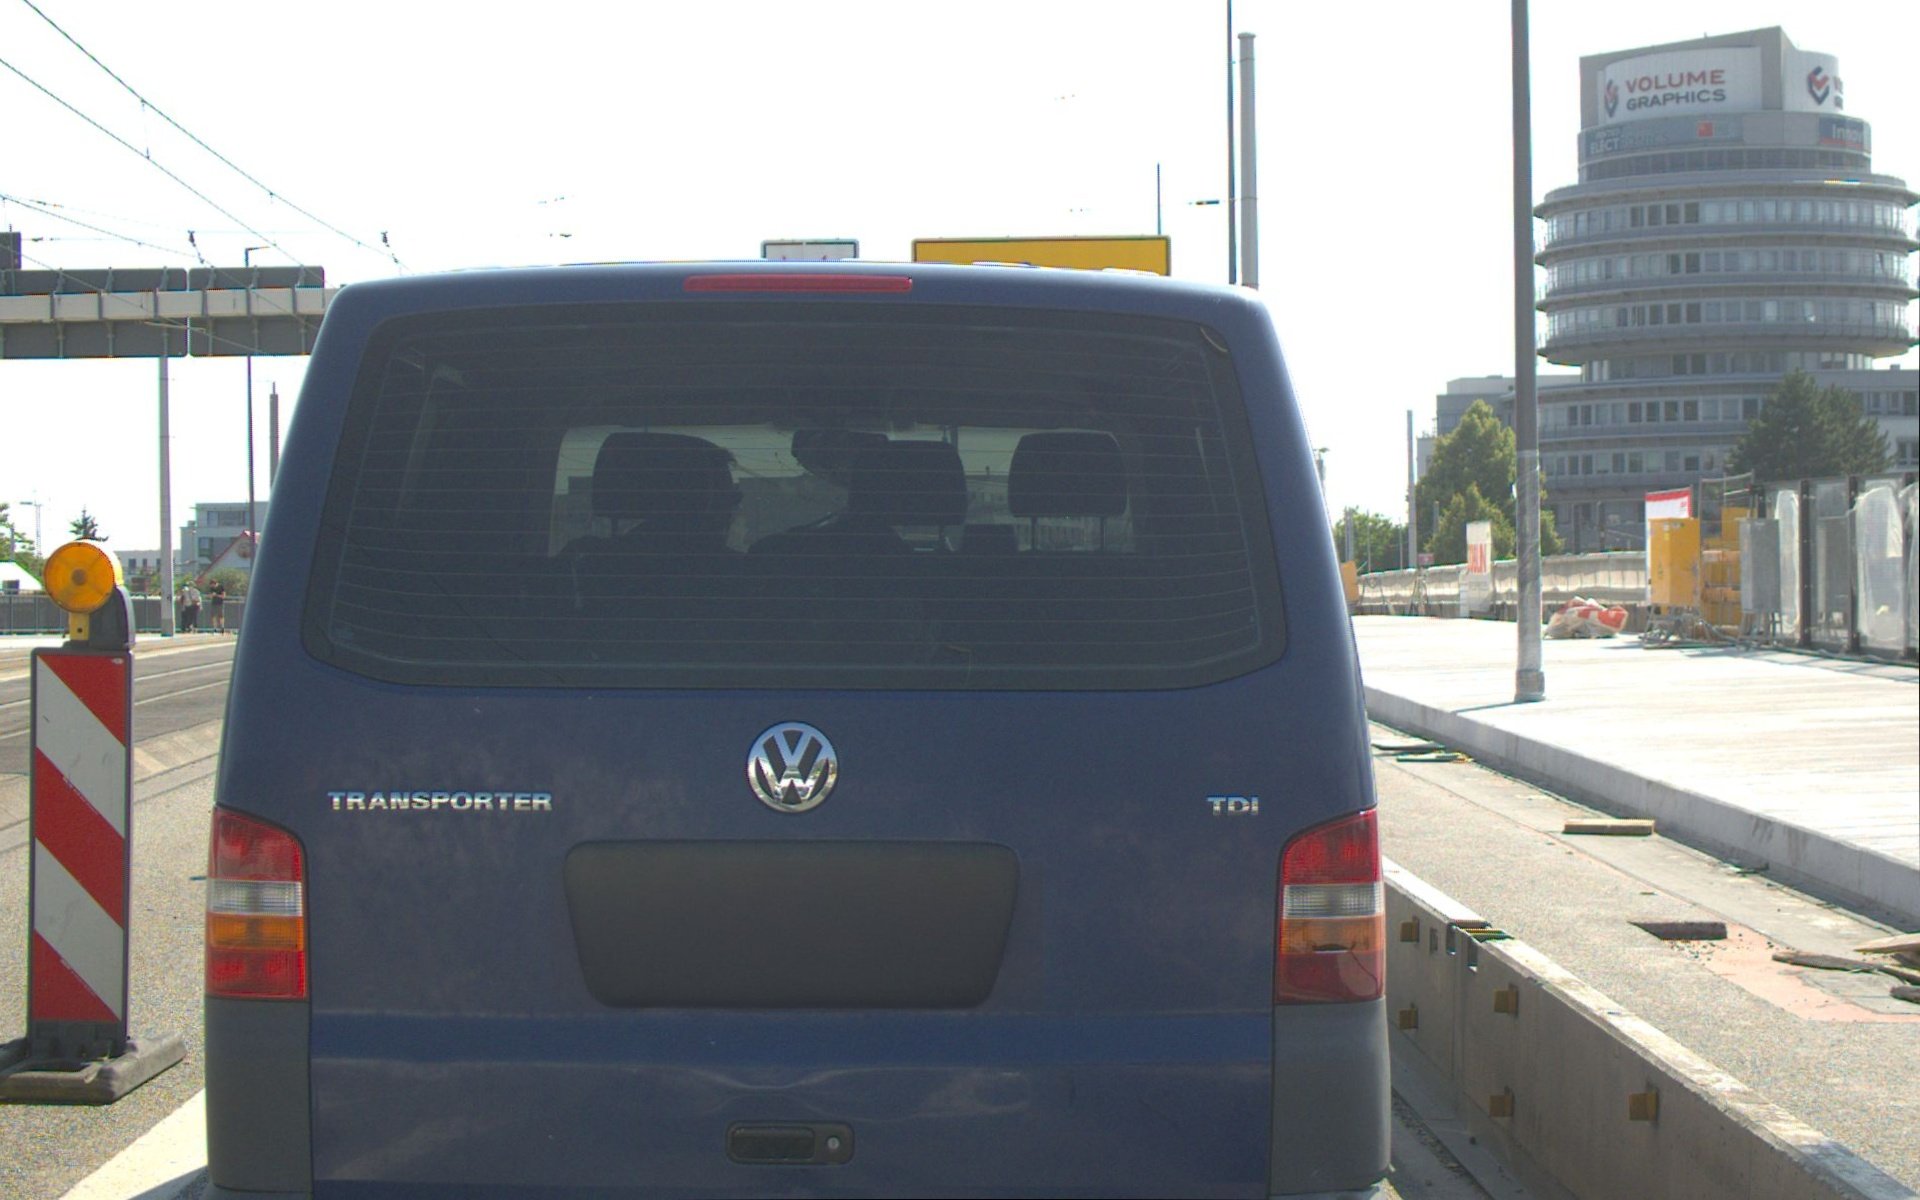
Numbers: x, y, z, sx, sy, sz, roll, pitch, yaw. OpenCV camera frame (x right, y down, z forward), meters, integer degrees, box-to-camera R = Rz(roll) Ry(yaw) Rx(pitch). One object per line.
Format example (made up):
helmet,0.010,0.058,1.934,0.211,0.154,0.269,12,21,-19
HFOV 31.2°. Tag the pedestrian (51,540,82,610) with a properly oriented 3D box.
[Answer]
pedestrian,-24.204,-0.677,93.140,0.634,1.887,0.752,0,1,-1

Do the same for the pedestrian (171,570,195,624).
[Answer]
pedestrian,-25.602,-0.093,113.291,0.634,1.768,0.752,0,1,-1

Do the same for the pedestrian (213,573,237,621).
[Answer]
pedestrian,-24.854,-0.105,116.280,0.634,1.593,0.752,0,1,-1

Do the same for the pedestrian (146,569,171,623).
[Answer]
pedestrian,-26.303,-0.124,112.838,0.634,1.746,0.752,0,1,-1

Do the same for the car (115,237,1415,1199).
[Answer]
car,-0.300,0.404,6.853,1.815,1.899,4.055,0,1,-1
